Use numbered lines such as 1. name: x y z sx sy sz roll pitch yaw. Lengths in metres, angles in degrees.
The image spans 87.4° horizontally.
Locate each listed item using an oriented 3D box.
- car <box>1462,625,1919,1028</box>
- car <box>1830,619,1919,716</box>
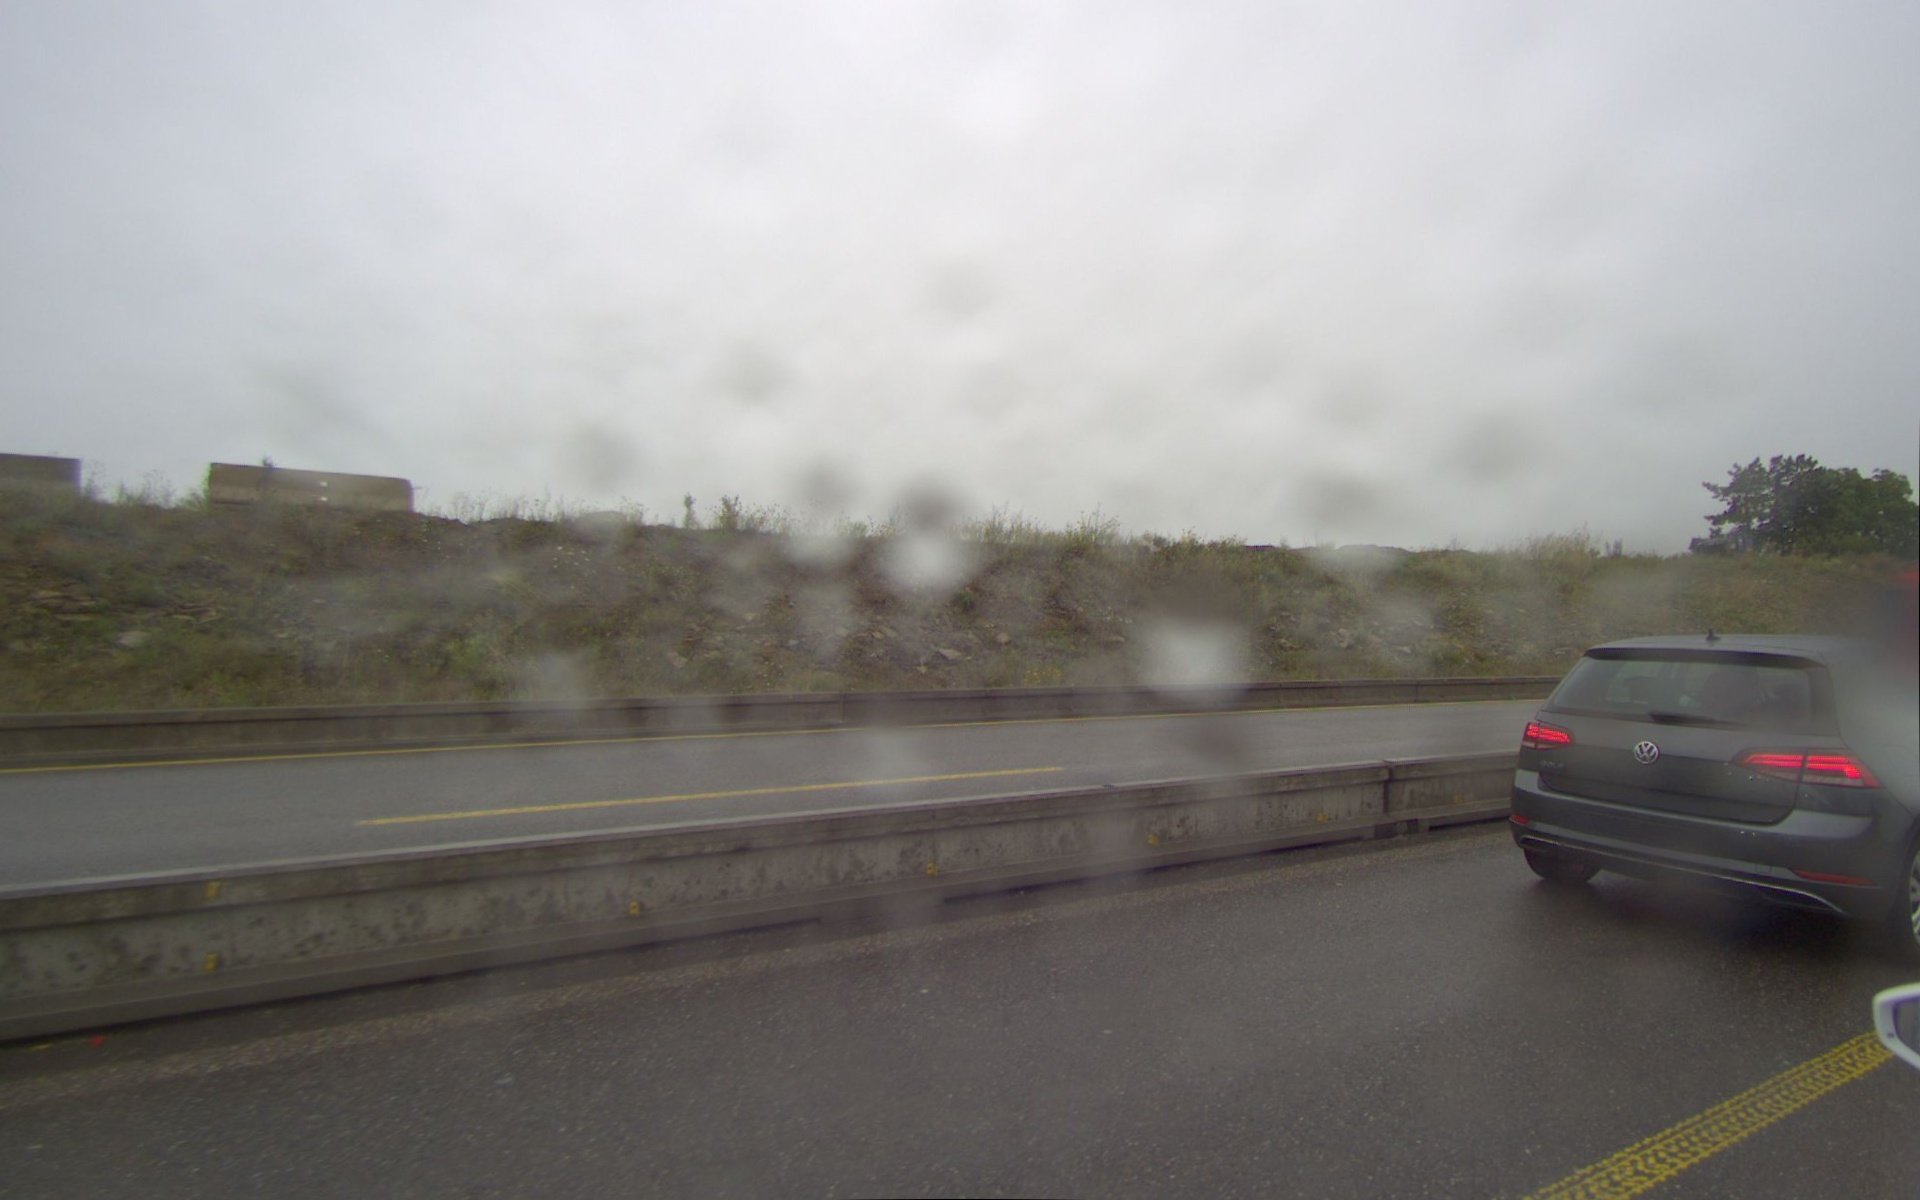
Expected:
1. car: 4.859 0.945 5.634 4.318 1.526 1.606 2 -2 -31
2. car: 17.421 1.198 18.049 3.680 1.598 1.717 2 -1 -32
